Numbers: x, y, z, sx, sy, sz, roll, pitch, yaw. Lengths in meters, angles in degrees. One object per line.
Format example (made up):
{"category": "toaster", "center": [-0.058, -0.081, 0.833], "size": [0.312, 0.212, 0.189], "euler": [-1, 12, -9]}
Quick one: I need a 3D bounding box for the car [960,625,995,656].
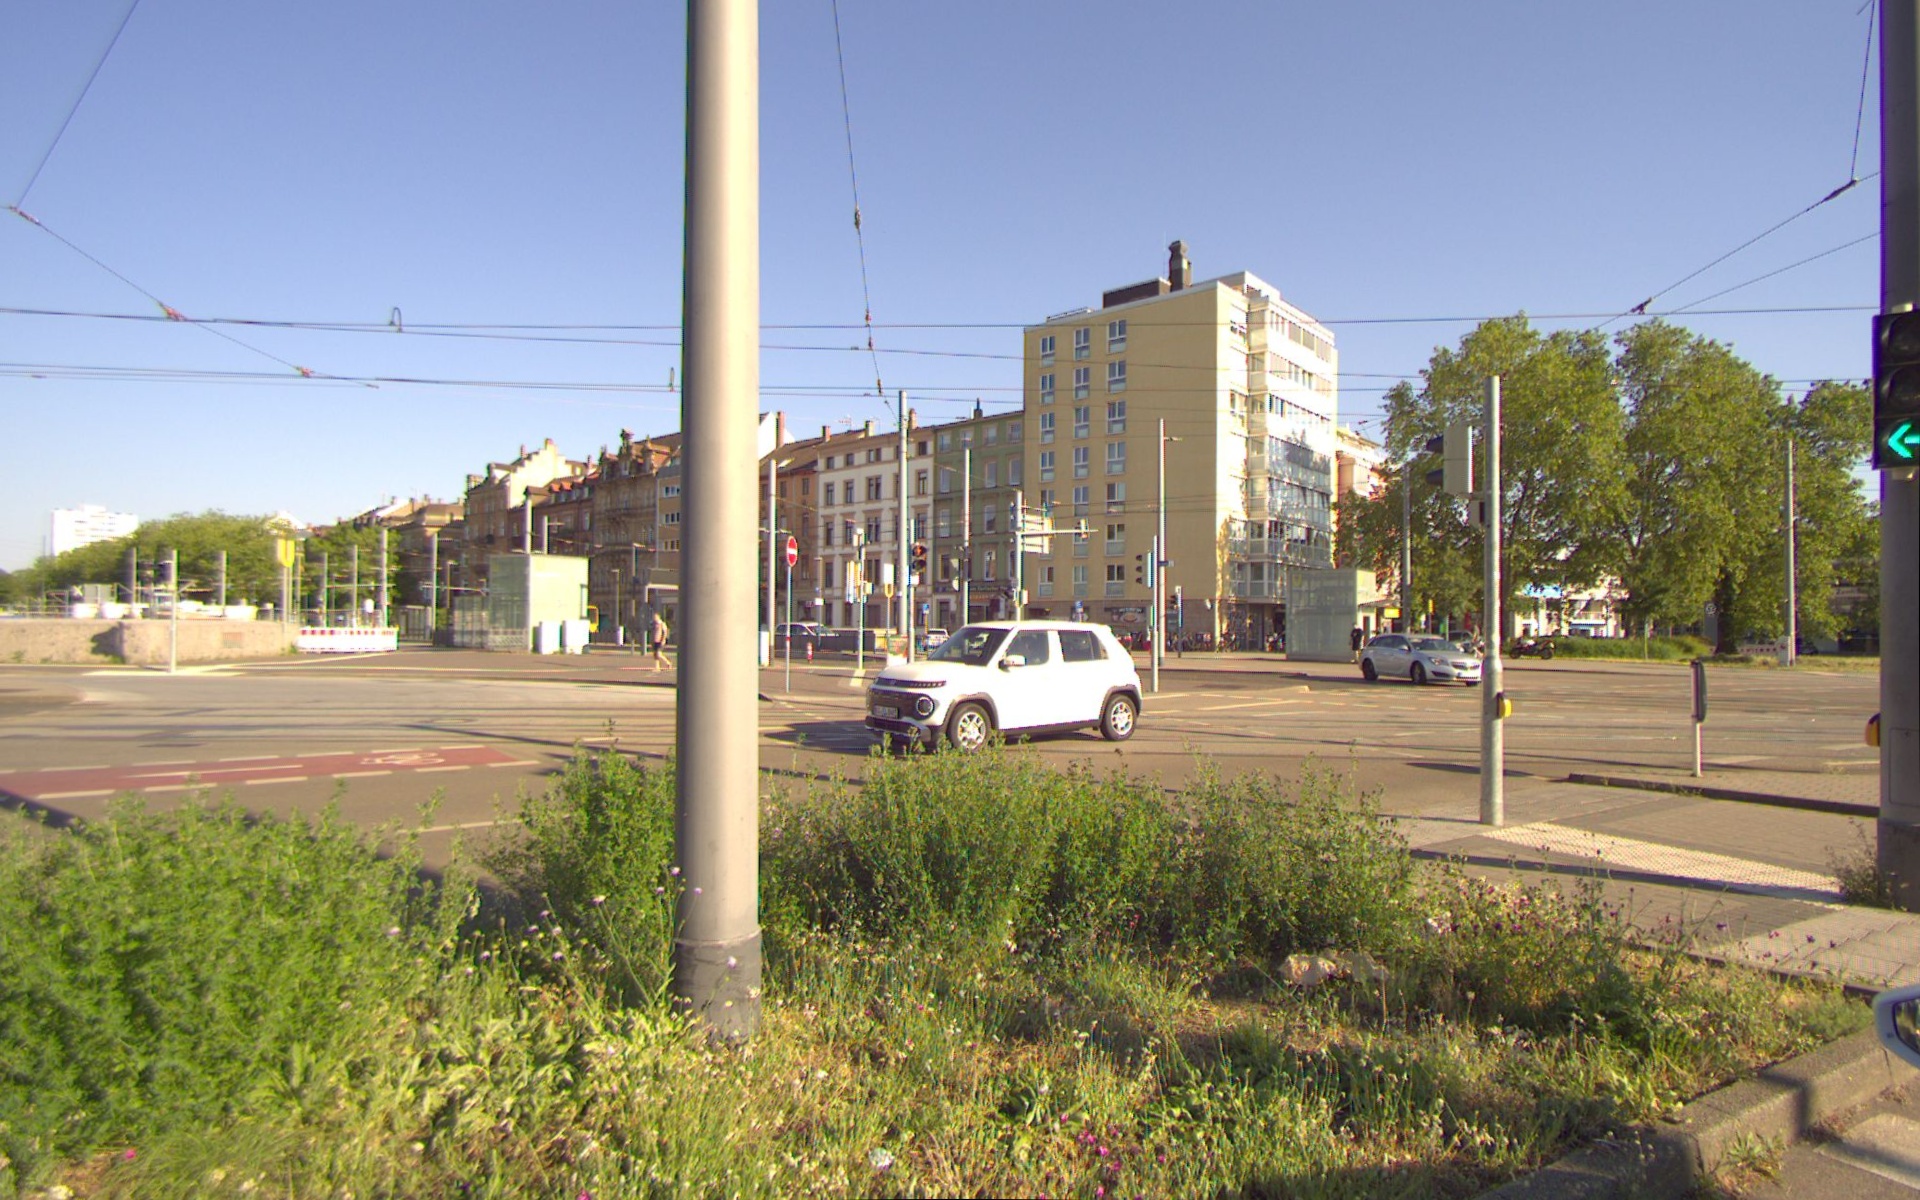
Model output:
{"category": "car", "center": [1.134, 2.536, 63.673], "size": [1.960, 1.728, 4.001], "euler": [2, 0, 3]}

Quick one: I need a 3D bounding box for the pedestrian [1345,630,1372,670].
{"category": "pedestrian", "center": [17.906, 2.238, 45.114], "size": [0.747, 1.728, 0.793], "euler": [2, 0, -23]}

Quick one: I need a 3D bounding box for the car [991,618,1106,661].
{"category": "car", "center": [3.905, 1.759, 44.946], "size": [4.836, 1.848, 1.991], "euler": [-1, -3, 40]}

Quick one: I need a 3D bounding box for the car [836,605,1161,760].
{"category": "car", "center": [0.580, 0.991, 13.038], "size": [3.963, 1.684, 1.767], "euler": [2, 0, -37]}

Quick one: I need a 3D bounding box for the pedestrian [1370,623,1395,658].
{"category": "pedestrian", "center": [21.284, 2.023, 50.593], "size": [0.747, 1.728, 0.793], "euler": [2, 0, -23]}

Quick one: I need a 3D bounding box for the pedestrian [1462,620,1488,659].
{"category": "pedestrian", "center": [26.008, 1.974, 50.729], "size": [0.747, 1.911, 0.793], "euler": [2, 0, -23]}

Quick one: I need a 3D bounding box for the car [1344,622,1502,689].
{"category": "car", "center": [13.563, 1.564, 29.780], "size": [1.755, 1.684, 4.710], "euler": [2, 0, -12]}

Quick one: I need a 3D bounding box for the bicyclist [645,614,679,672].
{"category": "bicyclist", "center": [-9.065, 1.292, 30.563], "size": [0.653, 1.706, 0.980], "euler": [2, 0, 2]}

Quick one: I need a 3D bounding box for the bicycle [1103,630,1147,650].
{"category": "bicycle", "center": [10.840, 2.624, 66.054], "size": [3.003, 1.167, 0.637], "euler": [2, 0, 44]}

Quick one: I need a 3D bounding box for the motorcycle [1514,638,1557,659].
{"category": "motorcycle", "center": [28.629, 2.419, 50.018], "size": [1.753, 0.926, 0.676], "euler": [2, 0, 40]}

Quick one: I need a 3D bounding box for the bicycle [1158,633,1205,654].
{"category": "bicycle", "center": [13.875, 2.711, 62.988], "size": [3.003, 1.167, 0.637], "euler": [2, 0, 44]}

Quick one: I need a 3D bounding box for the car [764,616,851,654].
{"category": "car", "center": [-8.394, 1.881, 54.934], "size": [4.837, 1.848, 1.991], "euler": [2, 0, 40]}

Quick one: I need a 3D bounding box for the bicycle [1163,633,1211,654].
{"category": "bicycle", "center": [14.343, 2.733, 63.538], "size": [3.003, 1.167, 0.637], "euler": [2, 0, 44]}

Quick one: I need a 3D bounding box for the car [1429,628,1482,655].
{"category": "car", "center": [31.443, 2.631, 63.728], "size": [3.974, 1.588, 1.753], "euler": [3, -1, -44]}

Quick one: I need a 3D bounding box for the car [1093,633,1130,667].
{"category": "car", "center": [8.596, 2.812, 57.273], "size": [1.684, 1.728, 4.001], "euler": [2, 0, 3]}

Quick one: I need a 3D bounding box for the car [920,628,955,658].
{"category": "car", "center": [-1.437, 2.804, 65.959], "size": [1.960, 1.728, 4.001], "euler": [2, 0, 3]}

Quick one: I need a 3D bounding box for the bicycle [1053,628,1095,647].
{"category": "bicycle", "center": [7.798, 2.534, 68.837], "size": [3.003, 1.167, 0.637], "euler": [2, 0, 44]}
